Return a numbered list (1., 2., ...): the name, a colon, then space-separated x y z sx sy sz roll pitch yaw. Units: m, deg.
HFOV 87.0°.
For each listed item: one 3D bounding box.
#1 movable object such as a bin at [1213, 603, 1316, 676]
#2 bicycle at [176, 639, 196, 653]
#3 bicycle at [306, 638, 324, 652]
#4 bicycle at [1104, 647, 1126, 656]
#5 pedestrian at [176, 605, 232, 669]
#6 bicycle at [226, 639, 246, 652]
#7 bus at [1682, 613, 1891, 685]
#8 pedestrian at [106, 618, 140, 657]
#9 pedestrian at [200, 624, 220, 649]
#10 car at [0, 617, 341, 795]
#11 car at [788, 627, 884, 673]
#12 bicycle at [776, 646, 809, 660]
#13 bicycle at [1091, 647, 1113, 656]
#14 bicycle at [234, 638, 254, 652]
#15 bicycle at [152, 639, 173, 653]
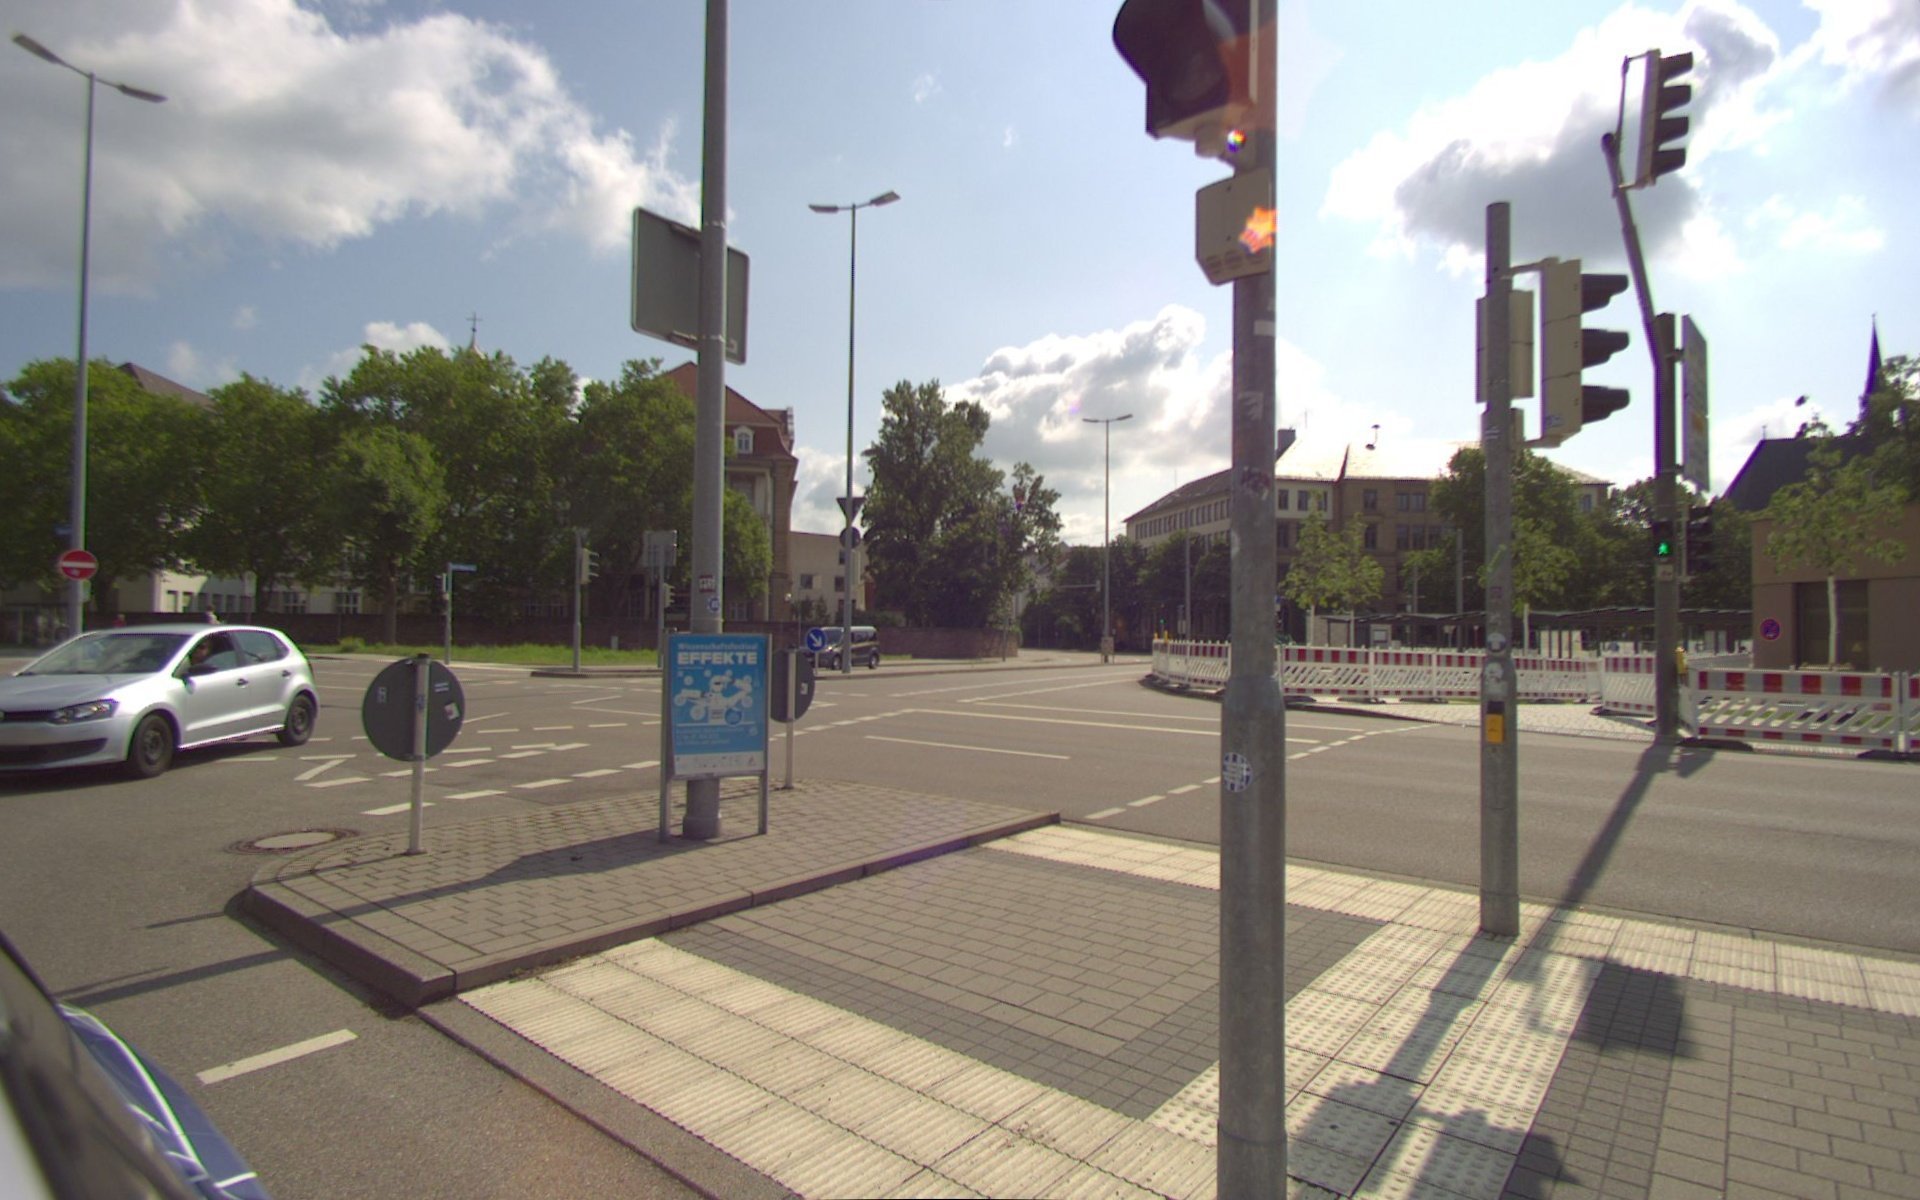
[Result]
1. movable object such as a bin: 13.136 1.711 43.943 1.965 2.972 4.465 2 -3 -20
2. bicycle: -48.764 2.874 63.757 0.476 0.855 0.973 1 -3 1
3. bicycle: -40.447 2.840 63.497 0.476 0.855 0.973 1 -3 1
4. bicycle: 21.375 7.073 139.572 2.885 1.216 1.039 -1 0 31
5. pedestrian: -22.610 1.119 30.274 0.692 1.871 1.176 -2 -3 12
6. bicycle: -45.562 2.861 63.695 0.476 0.855 0.973 1 -3 1
7. bus: 38.481 2.299 47.563 2.334 3.081 7.782 2 -3 -12
8. pedestrian: -39.434 1.755 47.686 0.956 1.793 0.747 0 -2 12
9. pedestrian: -46.697 2.257 63.012 0.715 1.545 0.725 0 -2 5
10. car: -8.346 0.918 10.447 1.632 1.453 4.007 0 -1 -3
11. car: -5.086 2.105 42.132 1.844 1.799 4.632 -2 -4 24
12. bicycle: -11.211 3.542 67.837 2.025 0.867 0.861 2 -1 -23
13. bicycle: 20.058 7.261 142.555 2.885 1.216 1.062 -1 0 31
14. bicycle: -45.007 2.843 63.620 0.476 0.855 0.973 1 -3 1
15. bicycle: -50.303 2.914 63.842 0.476 0.855 0.973 1 -3 1
